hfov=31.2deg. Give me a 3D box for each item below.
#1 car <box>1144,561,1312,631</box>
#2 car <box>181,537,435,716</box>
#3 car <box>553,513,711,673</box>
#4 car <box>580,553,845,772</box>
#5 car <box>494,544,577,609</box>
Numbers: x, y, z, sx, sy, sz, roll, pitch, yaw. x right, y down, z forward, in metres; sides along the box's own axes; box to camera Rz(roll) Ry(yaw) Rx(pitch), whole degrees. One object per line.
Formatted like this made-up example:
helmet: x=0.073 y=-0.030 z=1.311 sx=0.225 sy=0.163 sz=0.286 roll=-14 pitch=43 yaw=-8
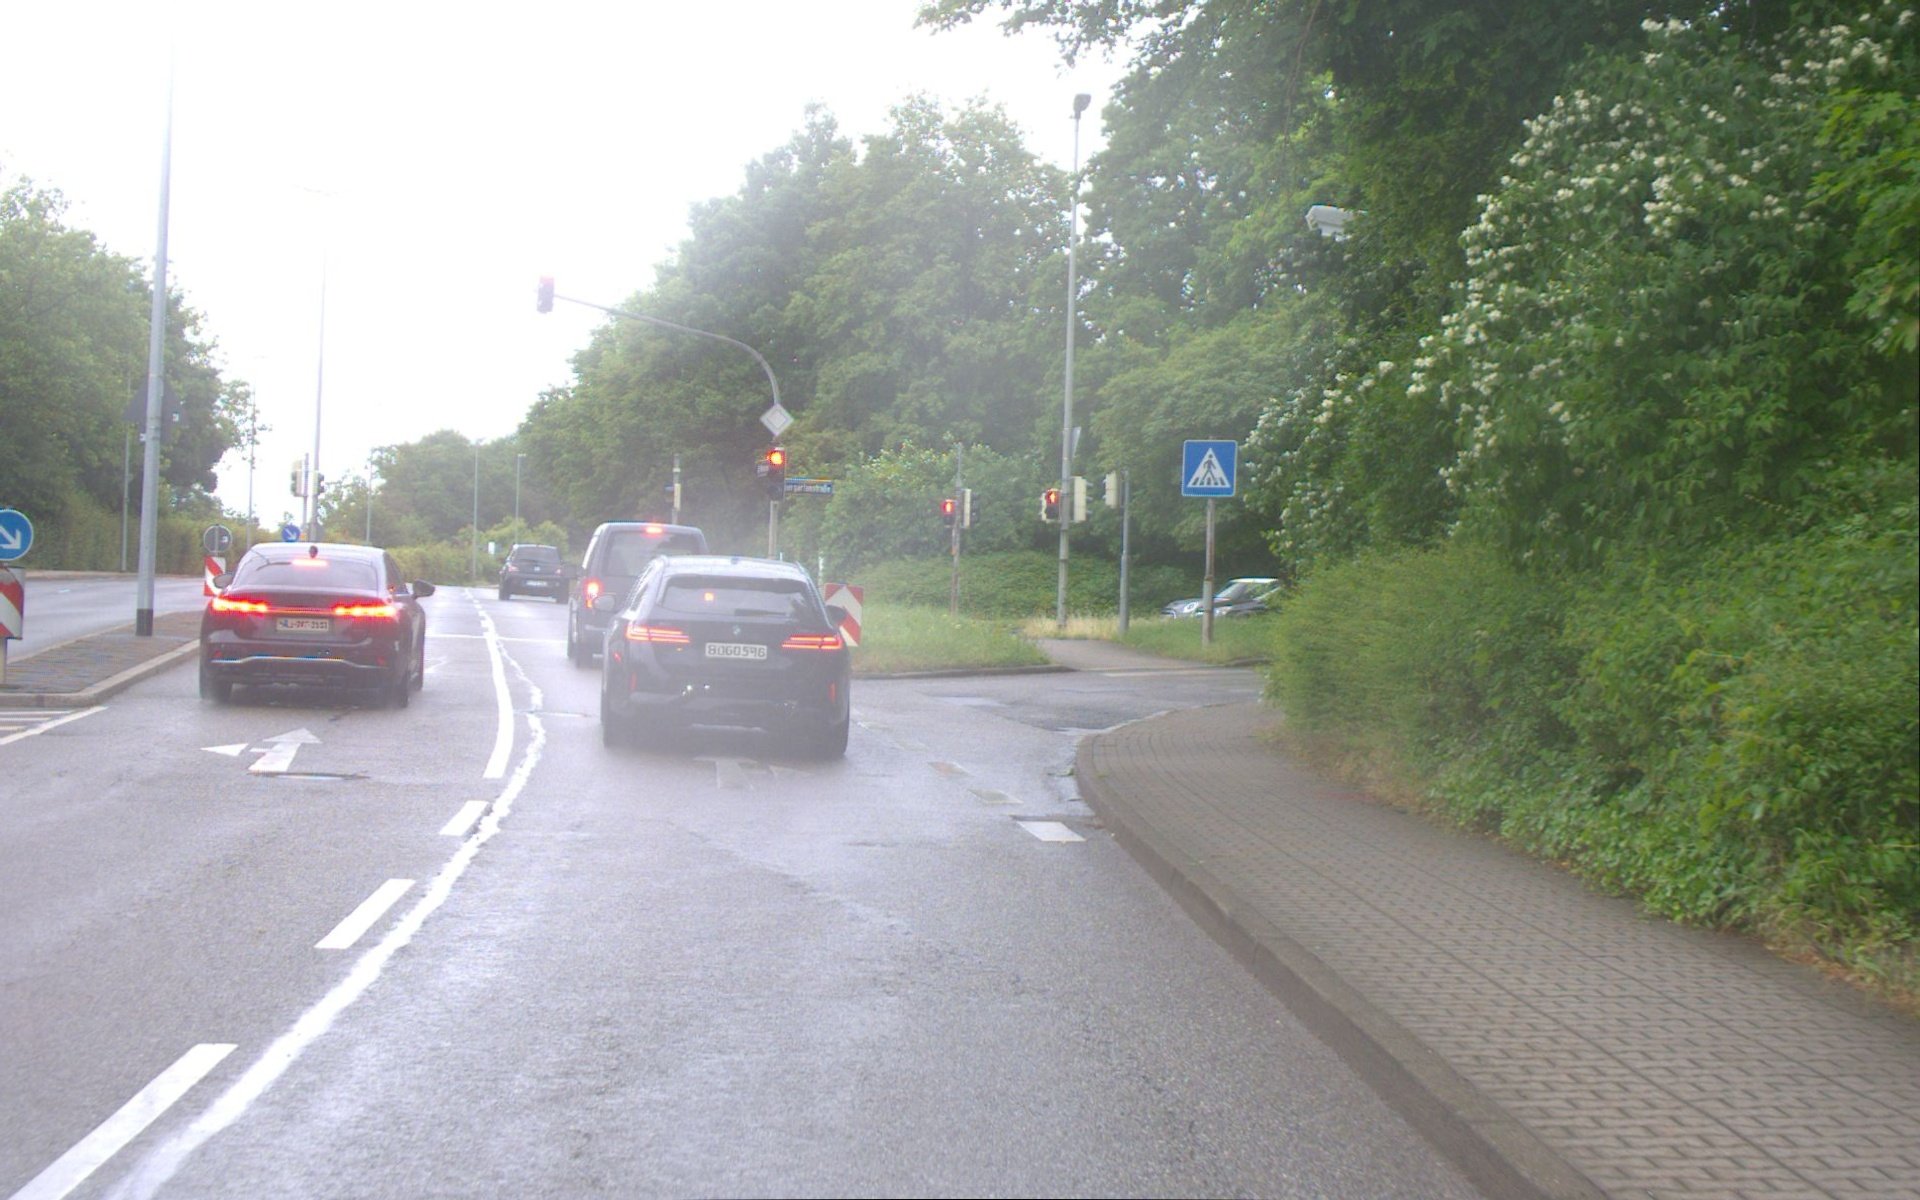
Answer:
car: x=5.885 y=-0.101 z=75.629 sx=3.502 sy=1.422 sz=1.703 roll=-1 pitch=3 yaw=-2
car: x=-5.909 y=0.205 z=31.593 sx=1.993 sy=1.522 sz=4.328 roll=0 pitch=1 yaw=-7
car: x=-4.230 y=-0.102 z=43.884 sx=1.817 sy=1.862 sz=3.953 roll=3 pitch=0 yaw=-7
car: x=-2.007 y=0.468 z=28.036 sx=1.898 sy=1.546 sz=4.615 roll=3 pitch=0 yaw=-4
car: x=-10.813 y=-0.610 z=87.407 sx=1.993 sy=1.618 sz=3.953 roll=0 pitch=1 yaw=-8
